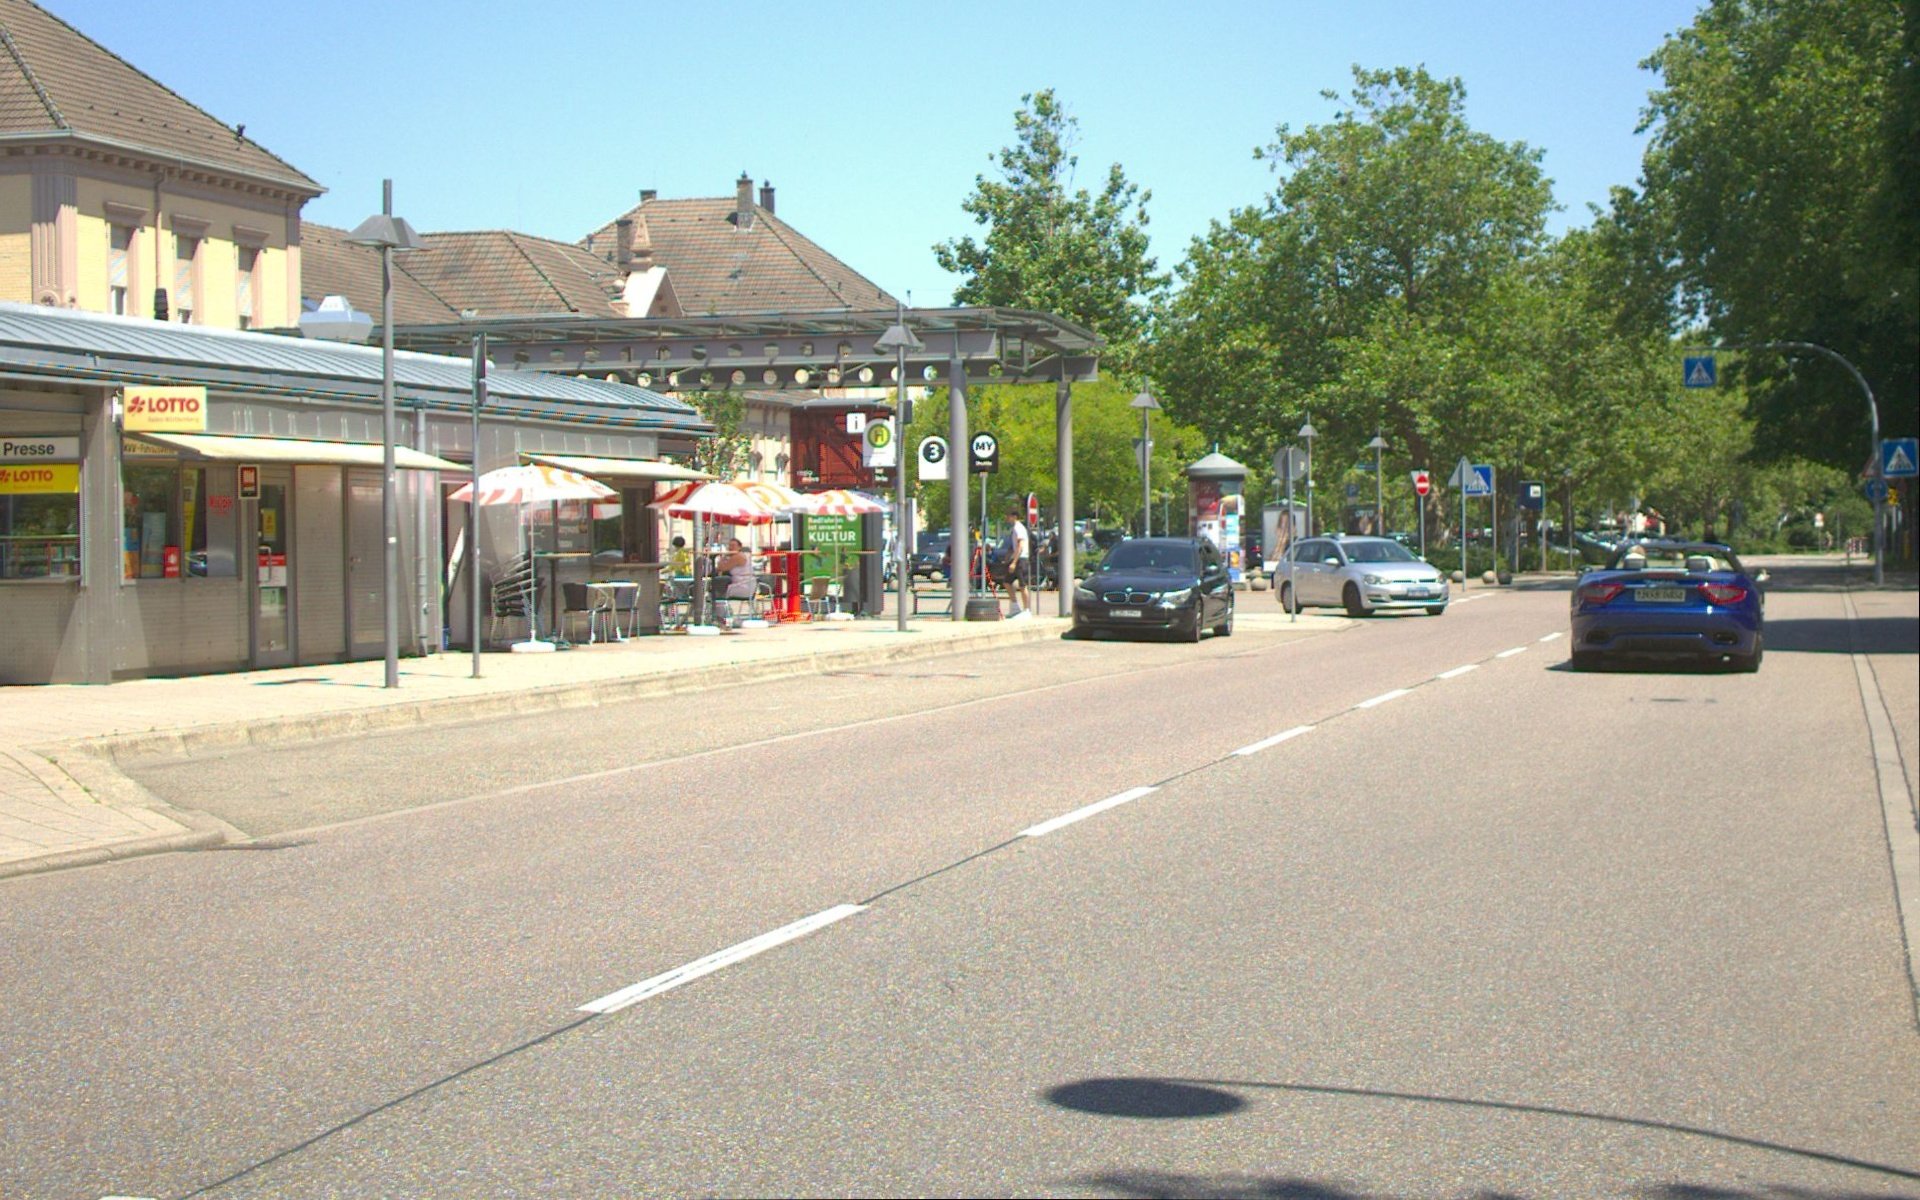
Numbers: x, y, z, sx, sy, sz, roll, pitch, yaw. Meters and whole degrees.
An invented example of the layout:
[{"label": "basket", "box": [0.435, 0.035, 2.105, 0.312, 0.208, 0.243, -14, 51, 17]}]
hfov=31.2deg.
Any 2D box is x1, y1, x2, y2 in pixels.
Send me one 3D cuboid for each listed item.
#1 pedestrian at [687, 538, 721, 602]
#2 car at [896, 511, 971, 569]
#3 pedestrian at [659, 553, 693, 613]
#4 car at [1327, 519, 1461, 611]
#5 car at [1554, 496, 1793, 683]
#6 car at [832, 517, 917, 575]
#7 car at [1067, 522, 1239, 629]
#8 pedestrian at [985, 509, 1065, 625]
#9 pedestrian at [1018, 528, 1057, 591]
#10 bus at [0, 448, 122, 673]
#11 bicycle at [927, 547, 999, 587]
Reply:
[{"label": "pedestrian", "box": [-6.725, -0.774, 90.357, 0.655, 1.667, 0.631, 0, -1, -32]}, {"label": "car", "box": [-0.967, -2.263, 128.222, 1.994, 2.006, 3.999, -1, 3, 12]}, {"label": "pedestrian", "box": [-4.618, -0.277, 55.918, 0.425, 0.969, 0.371, -1, -1, 27]}, {"label": "car", "box": [7.880, -0.653, 62.143, 1.816, 1.439, 4.156, -4, 1, 14]}, {"label": "car", "box": [7.555, -0.143, 36.120, 2.126, 1.842, 4.045, 0, 1, 17]}, {"label": "car", "box": [-2.991, -1.934, 121.402, 1.752, 1.910, 4.773, -1, 2, 14]}, {"label": "car", "box": [2.891, -0.380, 50.558, 1.719, 1.473, 4.783, -1, 1, 13]}, {"label": "pedestrian", "box": [1.034, -0.518, 54.654, 0.801, 1.821, 1.140, -1, -1, 31]}, {"label": "pedestrian", "box": [2.047, -1.067, 91.063, 0.762, 1.653, 0.719, -1, -1, 31]}, {"label": "bus", "box": [-14.939, -0.470, 43.235, 2.676, 3.030, 13.885, -1, 1, 12]}, {"label": "bicycle", "box": [0.075, -0.857, 88.494, 1.792, 1.027, 0.489, 0, 1, -9]}]
